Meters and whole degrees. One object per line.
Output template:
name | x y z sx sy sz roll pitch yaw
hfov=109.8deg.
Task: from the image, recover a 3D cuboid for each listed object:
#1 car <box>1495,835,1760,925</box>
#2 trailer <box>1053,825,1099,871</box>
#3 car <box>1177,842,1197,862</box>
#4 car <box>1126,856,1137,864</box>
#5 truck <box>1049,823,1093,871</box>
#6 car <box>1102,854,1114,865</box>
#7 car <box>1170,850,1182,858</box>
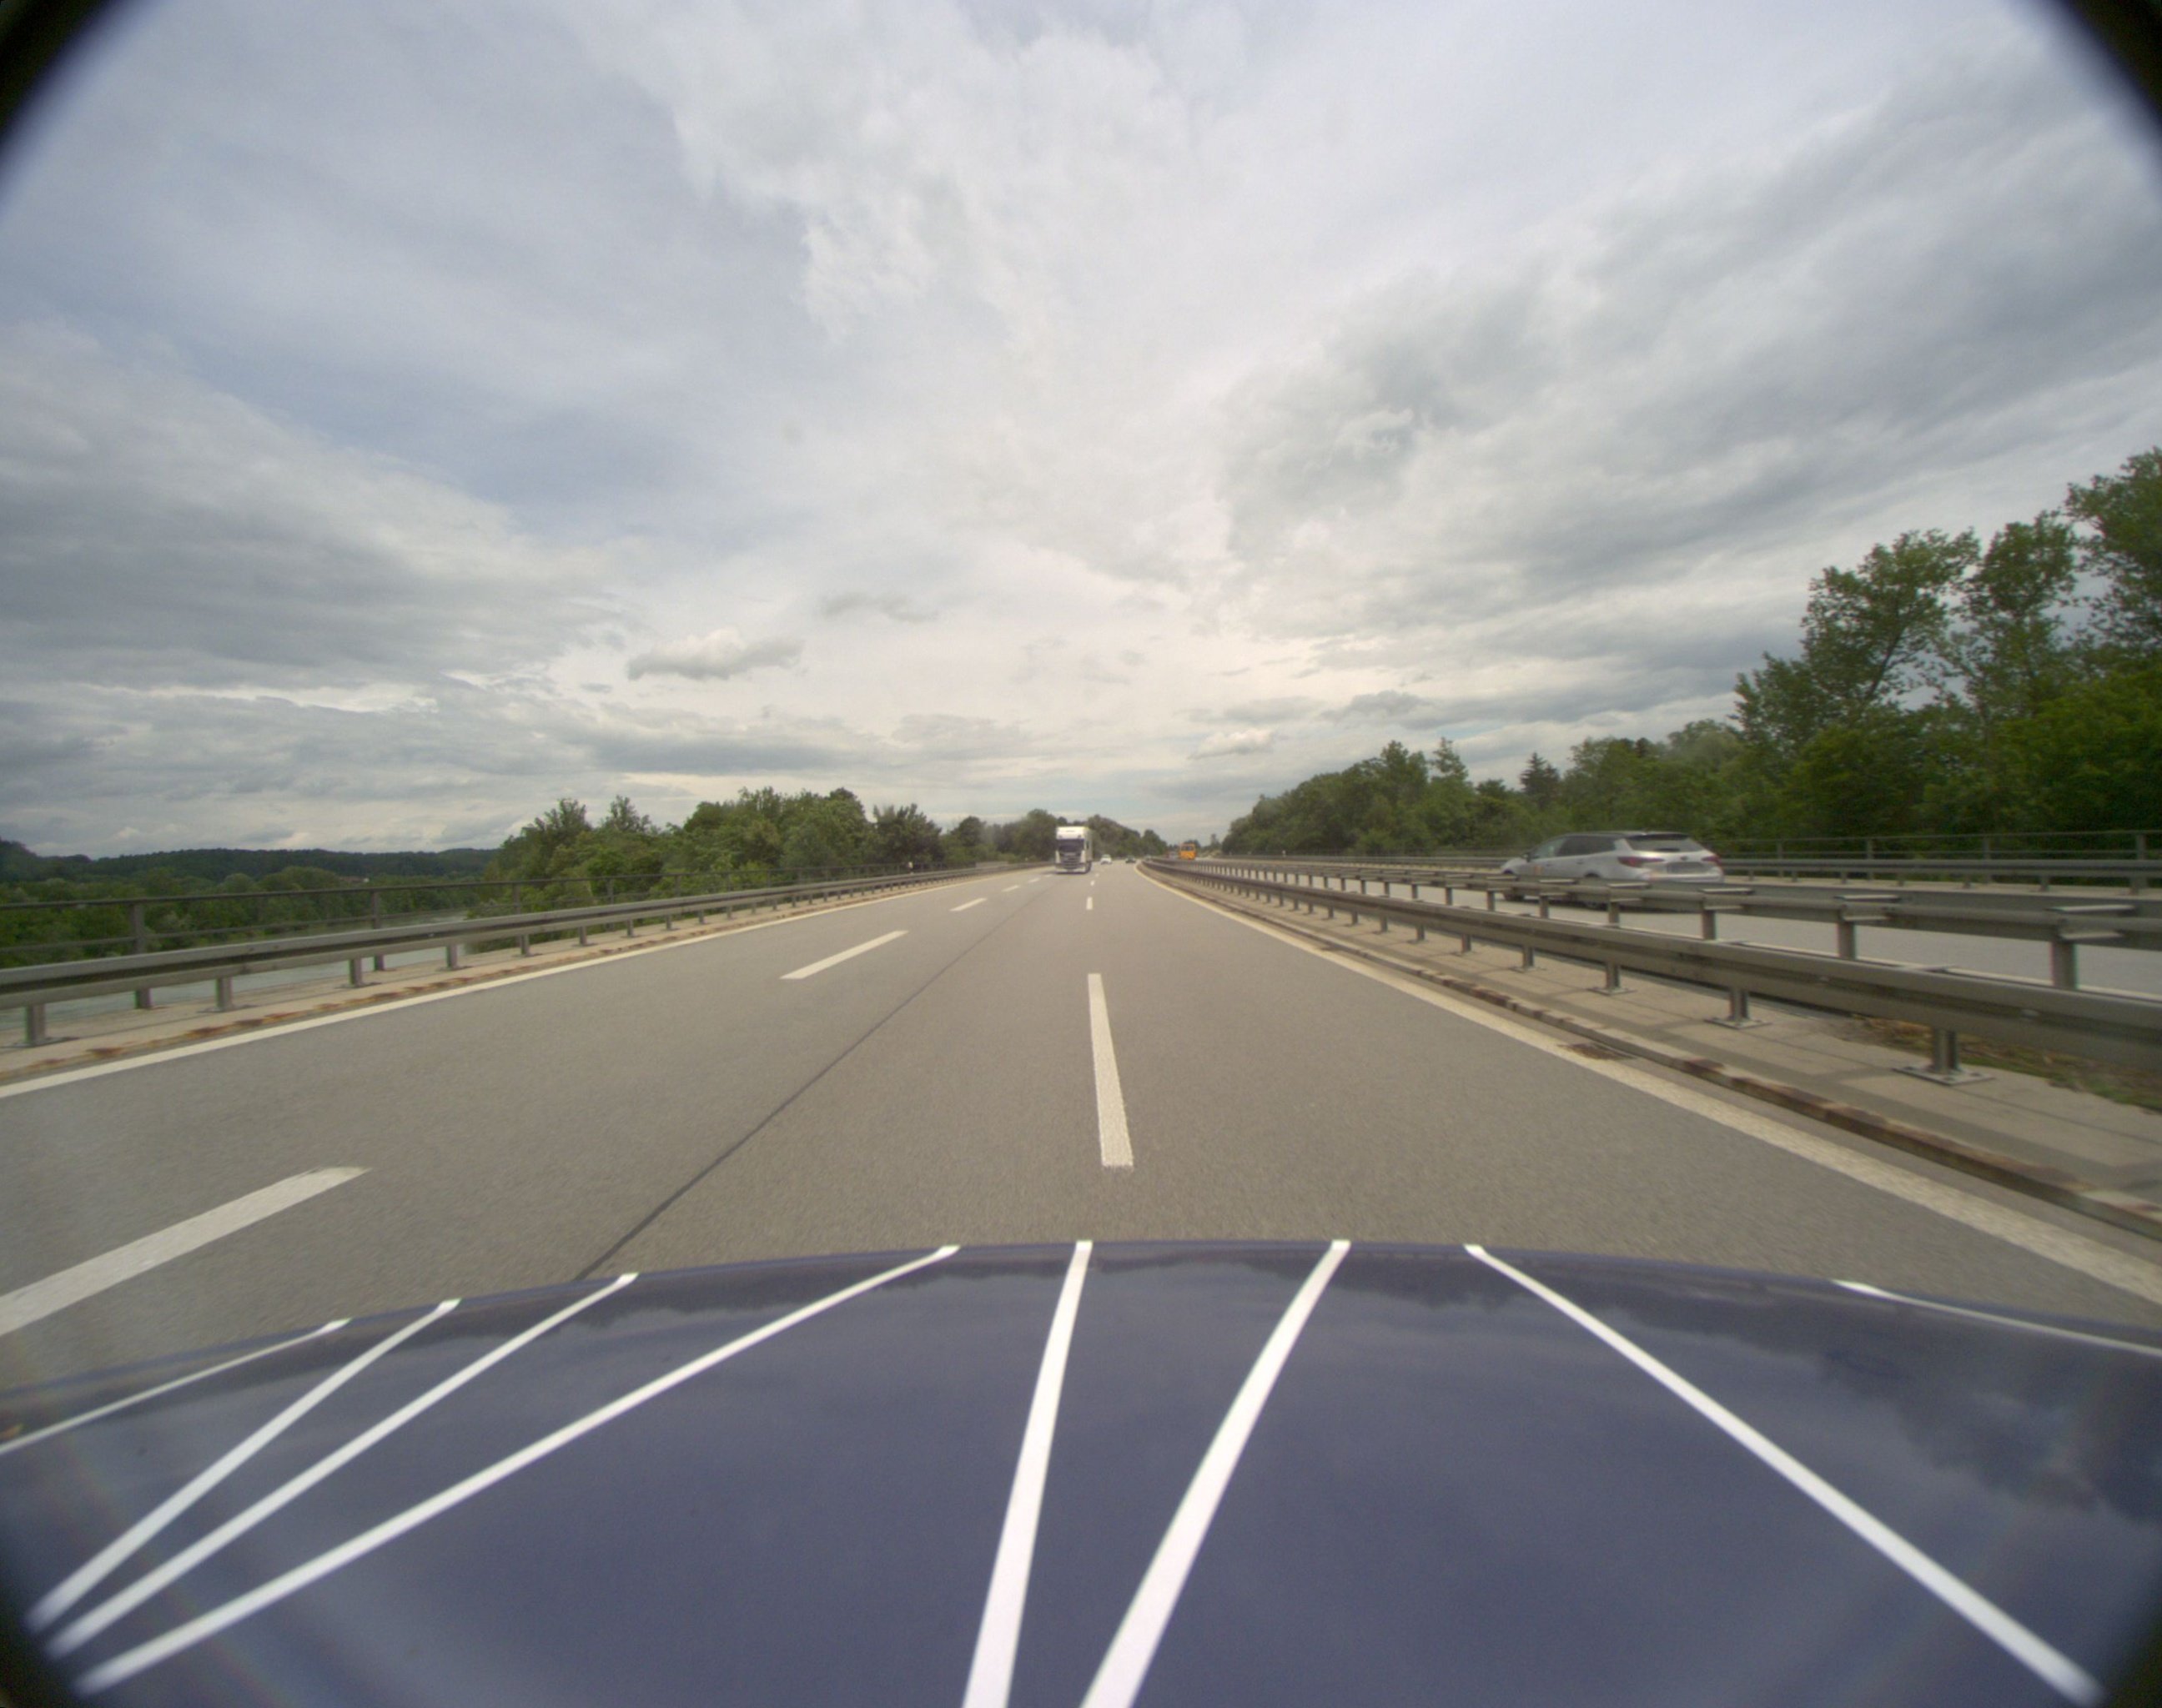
car | 9.885 0.401 14.266 1.776 1.379 4.387 -2 0 0
trailer | -0.236 -0.484 71.024 3.069 3.867 13.795 -1 0 5
car | 13.290 -0.263 95.548 1.998 2.279 6.399 -2 0 3
car | 9.409 1.065 140.910 1.774 1.474 4.701 0 -1 8
truck | -0.784 -0.546 64.056 3.069 3.869 6.002 -1 0 4
car | 4.843 1.032 133.967 1.774 1.813 4.167 -2 0 6
car | 16.116 -0.019 128.856 1.733 1.397 4.250 -2 0 3
